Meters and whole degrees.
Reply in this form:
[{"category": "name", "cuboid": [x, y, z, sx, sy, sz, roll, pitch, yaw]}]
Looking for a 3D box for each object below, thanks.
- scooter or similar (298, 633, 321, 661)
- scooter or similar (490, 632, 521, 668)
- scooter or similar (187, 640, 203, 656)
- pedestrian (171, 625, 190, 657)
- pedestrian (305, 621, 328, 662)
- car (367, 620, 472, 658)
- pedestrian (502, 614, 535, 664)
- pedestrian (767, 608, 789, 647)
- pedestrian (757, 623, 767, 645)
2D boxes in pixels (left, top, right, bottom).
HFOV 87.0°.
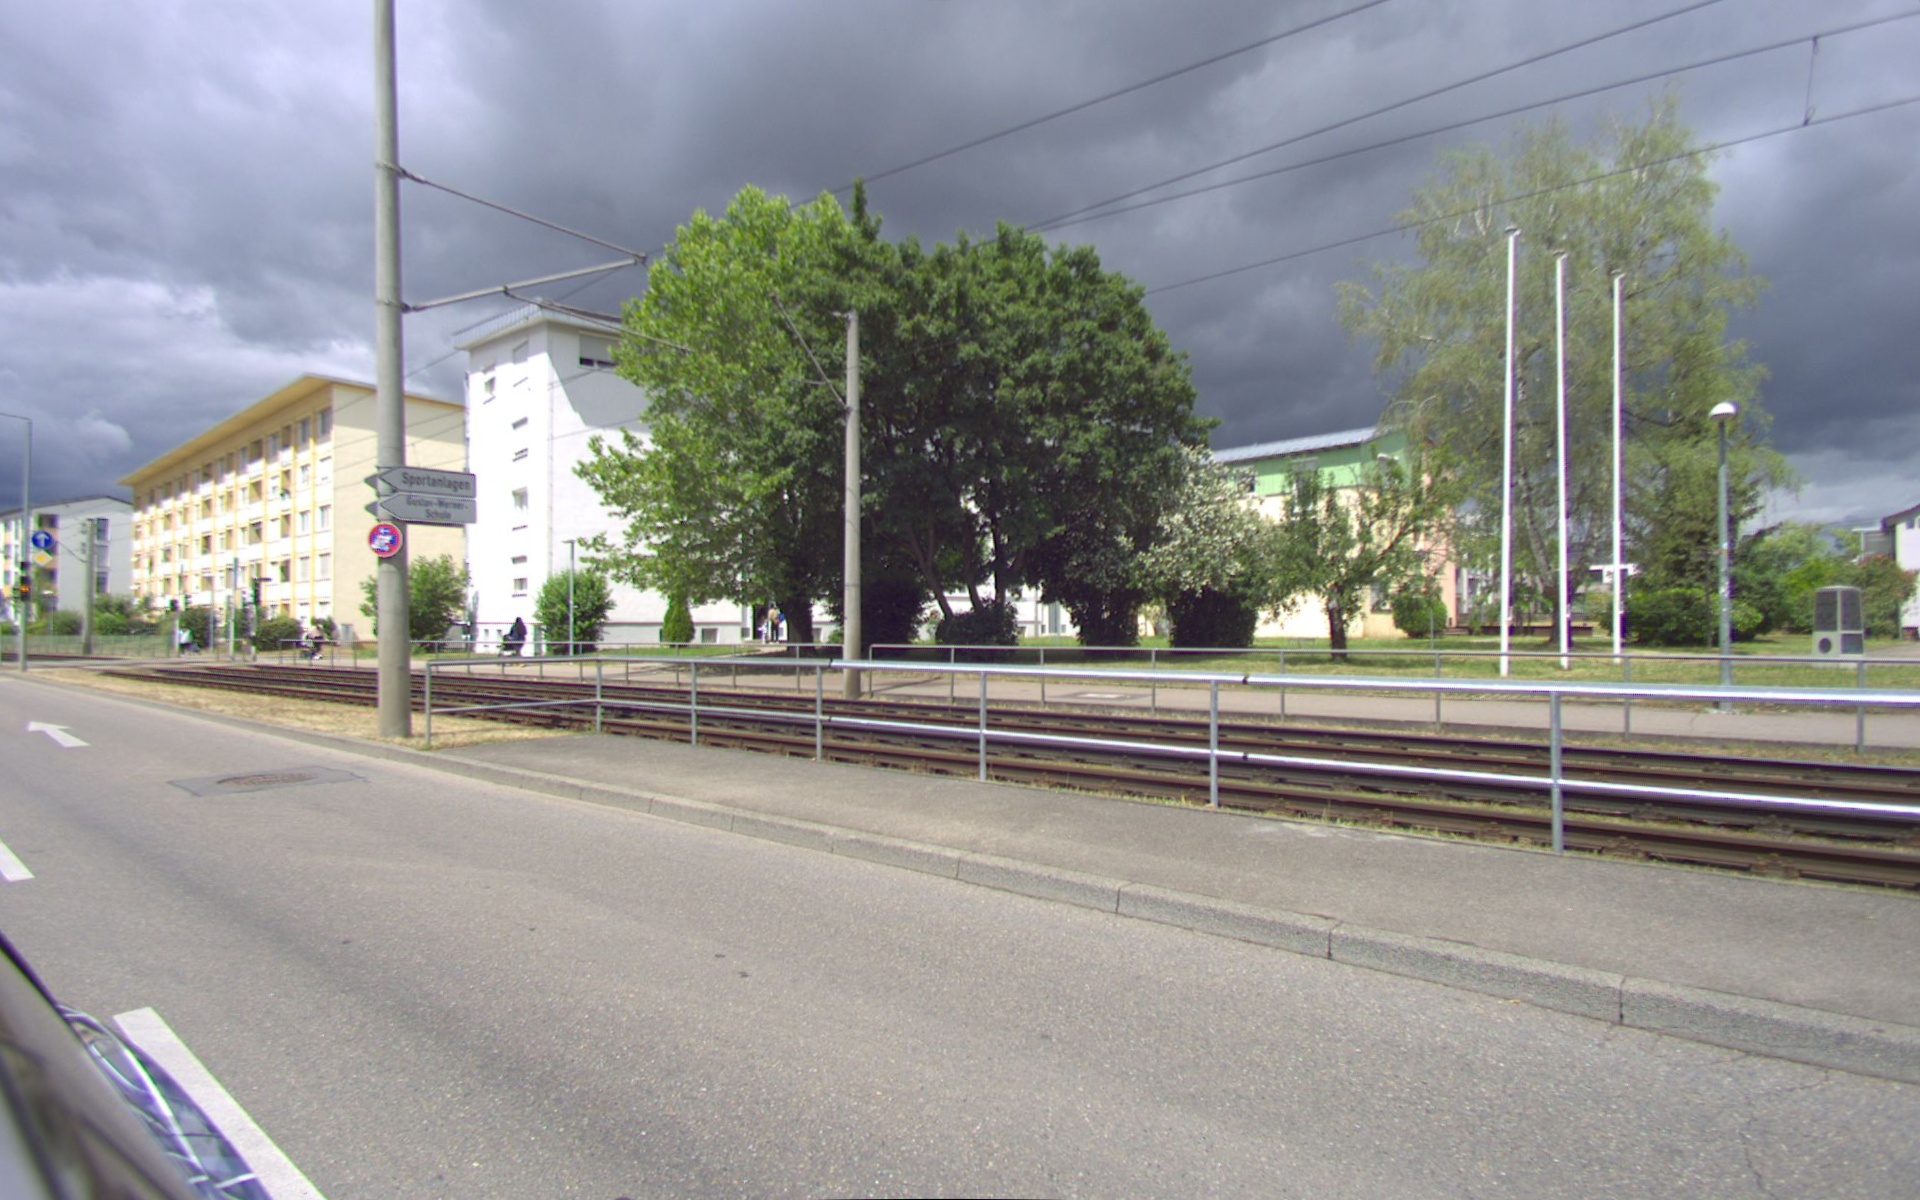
[{"category": "scooter or similar", "cuboid": [-27.988, 2.024, 43.562, 0.891, 1.172, 0.602, -2, -1, 41]}, {"category": "scooter or similar", "cuboid": [-14.685, 1.609, 32.716, 0.820, 1.123, 0.598, -2, -1, 39]}, {"category": "scooter or similar", "cuboid": [-39.485, 2.492, 52.232, 0.665, 0.779, 0.527, -2, 0, 39]}, {"category": "pedestrian", "cuboid": [-39.871, 2.081, 51.770, 0.773, 1.619, 0.598, -2, 0, 39]}, {"category": "pedestrian", "cuboid": [-27.379, 1.748, 43.057, 0.679, 1.705, 0.638, -2, -1, 40]}, {"category": "car", "cuboid": [-26.683, 1.902, 50.037, 4.227, 1.742, 1.811, 1, -2, -44]}, {"category": "pedestrian", "cuboid": [-14.030, 1.241, 32.175, 0.873, 1.552, 0.607, -2, -1, 39]}, {"category": "pedestrian", "cuboid": [-7.549, 1.141, 41.994, 0.675, 1.553, 0.515, -2, 5, -44]}, {"category": "pedestrian", "cuboid": [-8.212, 1.411, 41.920, 0.325, 0.889, 0.256, -2, 4, -39]}]
